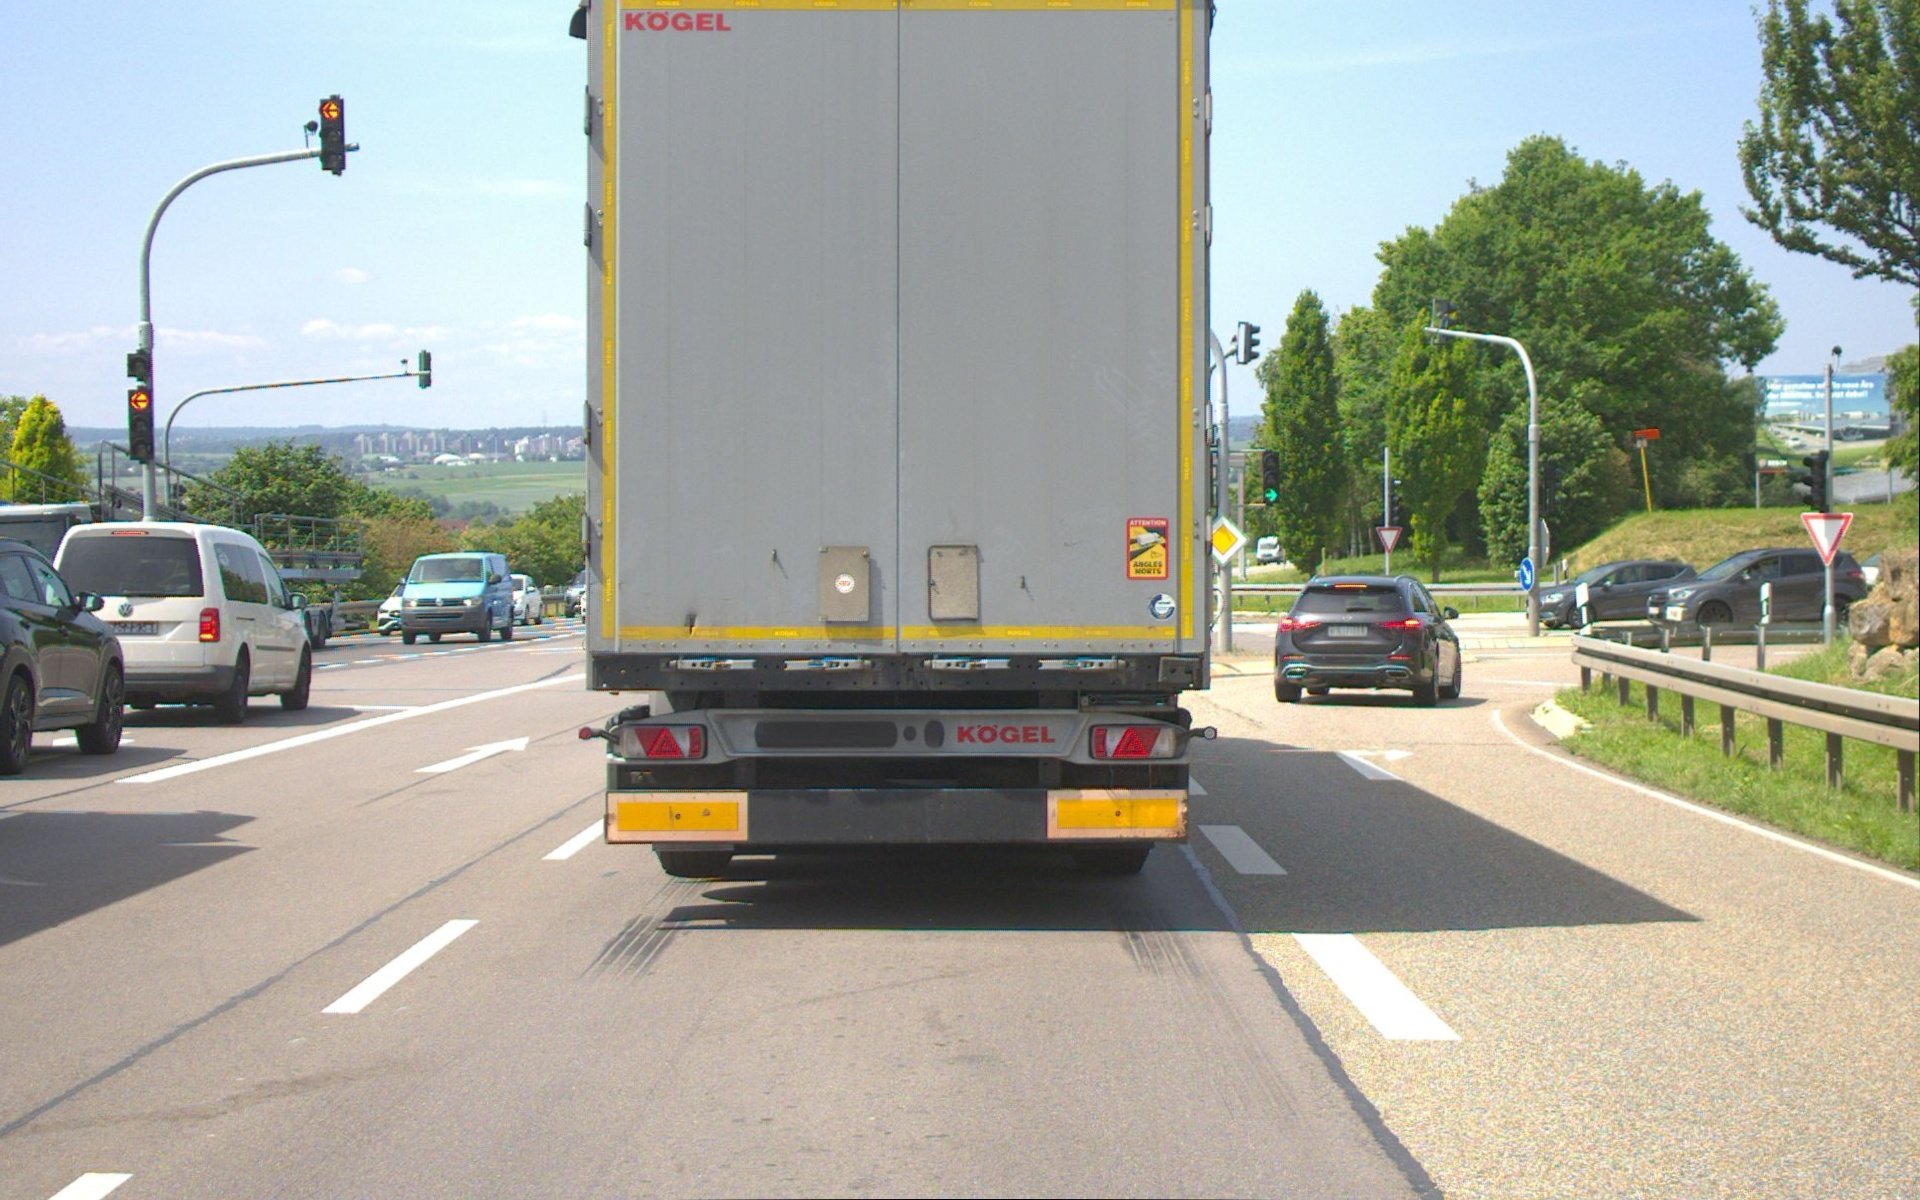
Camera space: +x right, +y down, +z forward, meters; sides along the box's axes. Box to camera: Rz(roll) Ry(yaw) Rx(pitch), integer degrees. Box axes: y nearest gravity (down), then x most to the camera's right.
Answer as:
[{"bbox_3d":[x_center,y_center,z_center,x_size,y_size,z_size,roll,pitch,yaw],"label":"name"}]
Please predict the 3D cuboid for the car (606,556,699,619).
[{"bbox_3d":[-7.780,-0.319,87.358,1.755,1.464,4.195,3,0,2],"label":"car"}]

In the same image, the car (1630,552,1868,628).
[{"bbox_3d":[15.908,-0.209,69.374,4.357,1.505,1.717,0,0,-10],"label":"car"}]

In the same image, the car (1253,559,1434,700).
[{"bbox_3d":[4.389,0.323,39.900,1.746,1.527,4.298,1,0,2],"label":"car"}]

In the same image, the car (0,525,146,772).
[{"bbox_3d":[-7.352,0.284,25.112,1.856,1.652,4.349,1,1,-1],"label":"car"}]

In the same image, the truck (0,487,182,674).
[{"bbox_3d":[-15.389,-0.316,58.488,2.799,3.003,5.989,0,0,1],"label":"truck"}]

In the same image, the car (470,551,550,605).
[{"bbox_3d":[-13.179,-0.634,100.757,1.644,1.491,3.801,-2,0,3],"label":"car"}]

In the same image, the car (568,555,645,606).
[{"bbox_3d":[-10.275,-0.573,100.159,1.772,1.429,4.000,-1,0,1],"label":"car"}]

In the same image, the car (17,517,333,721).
[{"bbox_3d":[-7.429,0.142,32.999,1.767,1.792,4.752,1,1,2],"label":"car"}]

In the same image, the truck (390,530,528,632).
[{"bbox_3d":[-10.966,-0.404,75.577,1.967,2.150,4.622,-1,0,5],"label":"truck"}]

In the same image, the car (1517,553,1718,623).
[{"bbox_3d":[14.465,-0.274,75.710,3.986,1.505,1.716,0,0,-8],"label":"car"}]

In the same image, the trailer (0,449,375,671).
[{"bbox_3d":[-15.011,-0.697,68.113,2.639,3.750,19.797,0,0,2],"label":"trailer"}]

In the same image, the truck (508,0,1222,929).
[{"bbox_3d":[-0.453,-0.708,19.401,2.799,3.916,11.342,1,0,-1],"label":"truck"}]

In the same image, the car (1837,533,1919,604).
[{"bbox_3d":[22.220,-0.710,77.541,4.357,1.587,1.780,0,0,-8],"label":"car"}]
